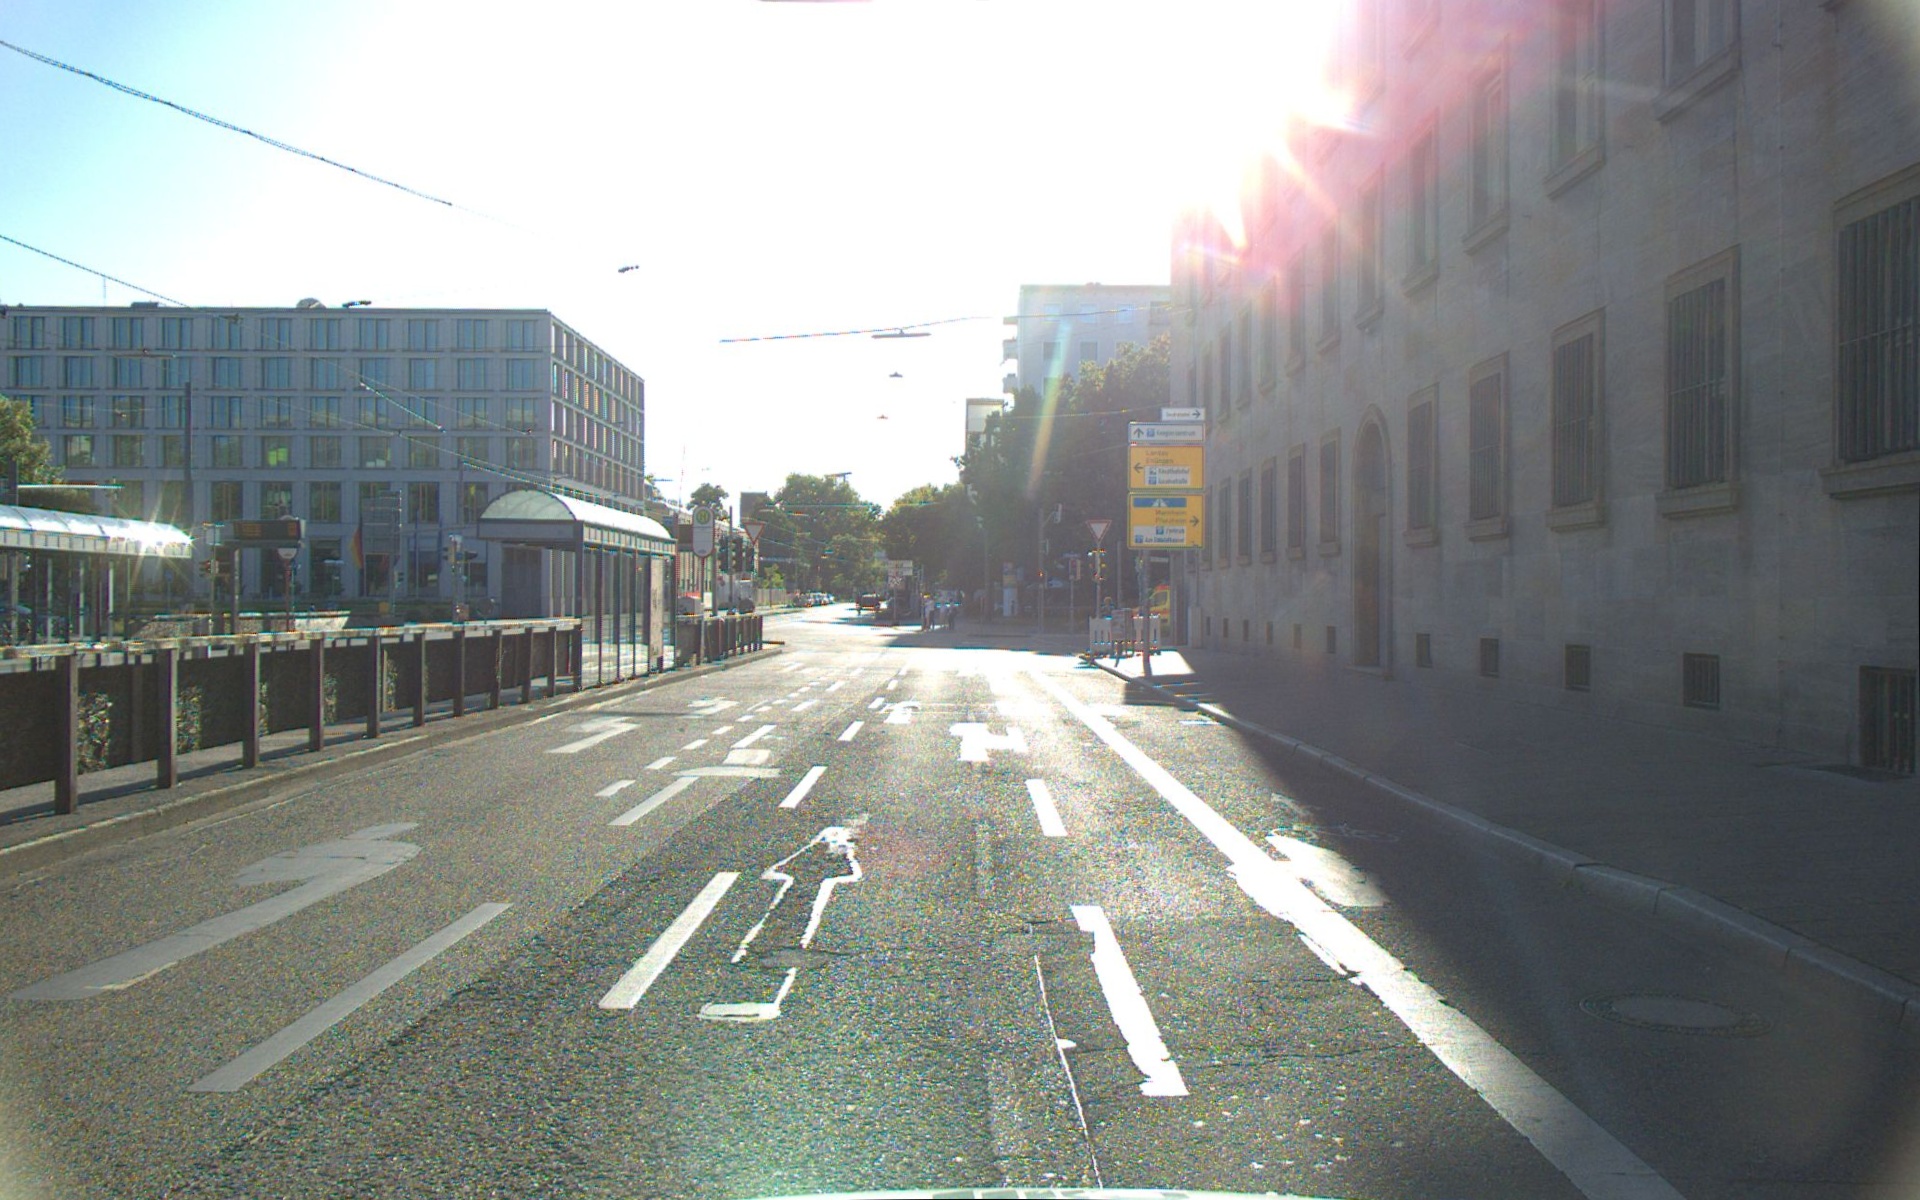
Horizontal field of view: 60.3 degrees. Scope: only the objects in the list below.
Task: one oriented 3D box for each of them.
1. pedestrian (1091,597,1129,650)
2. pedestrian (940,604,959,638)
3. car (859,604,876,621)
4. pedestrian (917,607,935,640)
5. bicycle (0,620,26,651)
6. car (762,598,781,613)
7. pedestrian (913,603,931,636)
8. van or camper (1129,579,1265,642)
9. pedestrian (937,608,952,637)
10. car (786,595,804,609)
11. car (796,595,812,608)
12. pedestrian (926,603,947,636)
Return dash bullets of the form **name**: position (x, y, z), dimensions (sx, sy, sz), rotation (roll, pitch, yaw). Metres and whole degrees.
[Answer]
- **pedestrian**: position (5.072, 0.780, 55.938), dimensions (1.021, 1.751, 1.032), rotation (0, 0, -11)
- **pedestrian**: position (-0.576, 1.147, 90.995), dimensions (0.834, 1.815, 0.776), rotation (0, 0, -16)
- **car**: position (-9.927, 1.344, 177.902), dimensions (1.650, 1.768, 3.508), rotation (2, -1, 0)
- **pedestrian**: position (-1.899, 1.306, 91.297), dimensions (0.834, 1.815, 0.776), rotation (0, 0, -16)
- **bicycle**: position (-36.372, 1.327, 62.331), dimensions (1.883, 1.142, 0.790), rotation (0, 0, 3)
- **car**: position (-21.491, 0.628, 188.905), dimensions (1.782, 1.742, 3.805), rotation (0, 0, 0)
- **pedestrian**: position (-2.105, 1.059, 92.171), dimensions (0.834, 1.815, 0.776), rotation (0, 0, -16)
- **van or camper**: position (11.853, 0.536, 83.157), dimensions (6.567, 2.912, 2.912), rotation (2, -1, 4)
- **pedestrian**: position (-0.861, 1.258, 91.759), dimensions (0.750, 1.586, 0.585), rotation (0, 0, -16)
- **car**: position (-20.050, 0.249, 200.656), dimensions (1.782, 1.742, 3.805), rotation (0, 0, 0)
- **car**: position (-19.323, 0.202, 204.978), dimensions (1.577, 1.525, 3.805), rotation (0, 0, 0)
- **pedestrian**: position (-1.275, 1.049, 89.954), dimensions (0.950, 1.815, 0.776), rotation (0, 0, -16)
